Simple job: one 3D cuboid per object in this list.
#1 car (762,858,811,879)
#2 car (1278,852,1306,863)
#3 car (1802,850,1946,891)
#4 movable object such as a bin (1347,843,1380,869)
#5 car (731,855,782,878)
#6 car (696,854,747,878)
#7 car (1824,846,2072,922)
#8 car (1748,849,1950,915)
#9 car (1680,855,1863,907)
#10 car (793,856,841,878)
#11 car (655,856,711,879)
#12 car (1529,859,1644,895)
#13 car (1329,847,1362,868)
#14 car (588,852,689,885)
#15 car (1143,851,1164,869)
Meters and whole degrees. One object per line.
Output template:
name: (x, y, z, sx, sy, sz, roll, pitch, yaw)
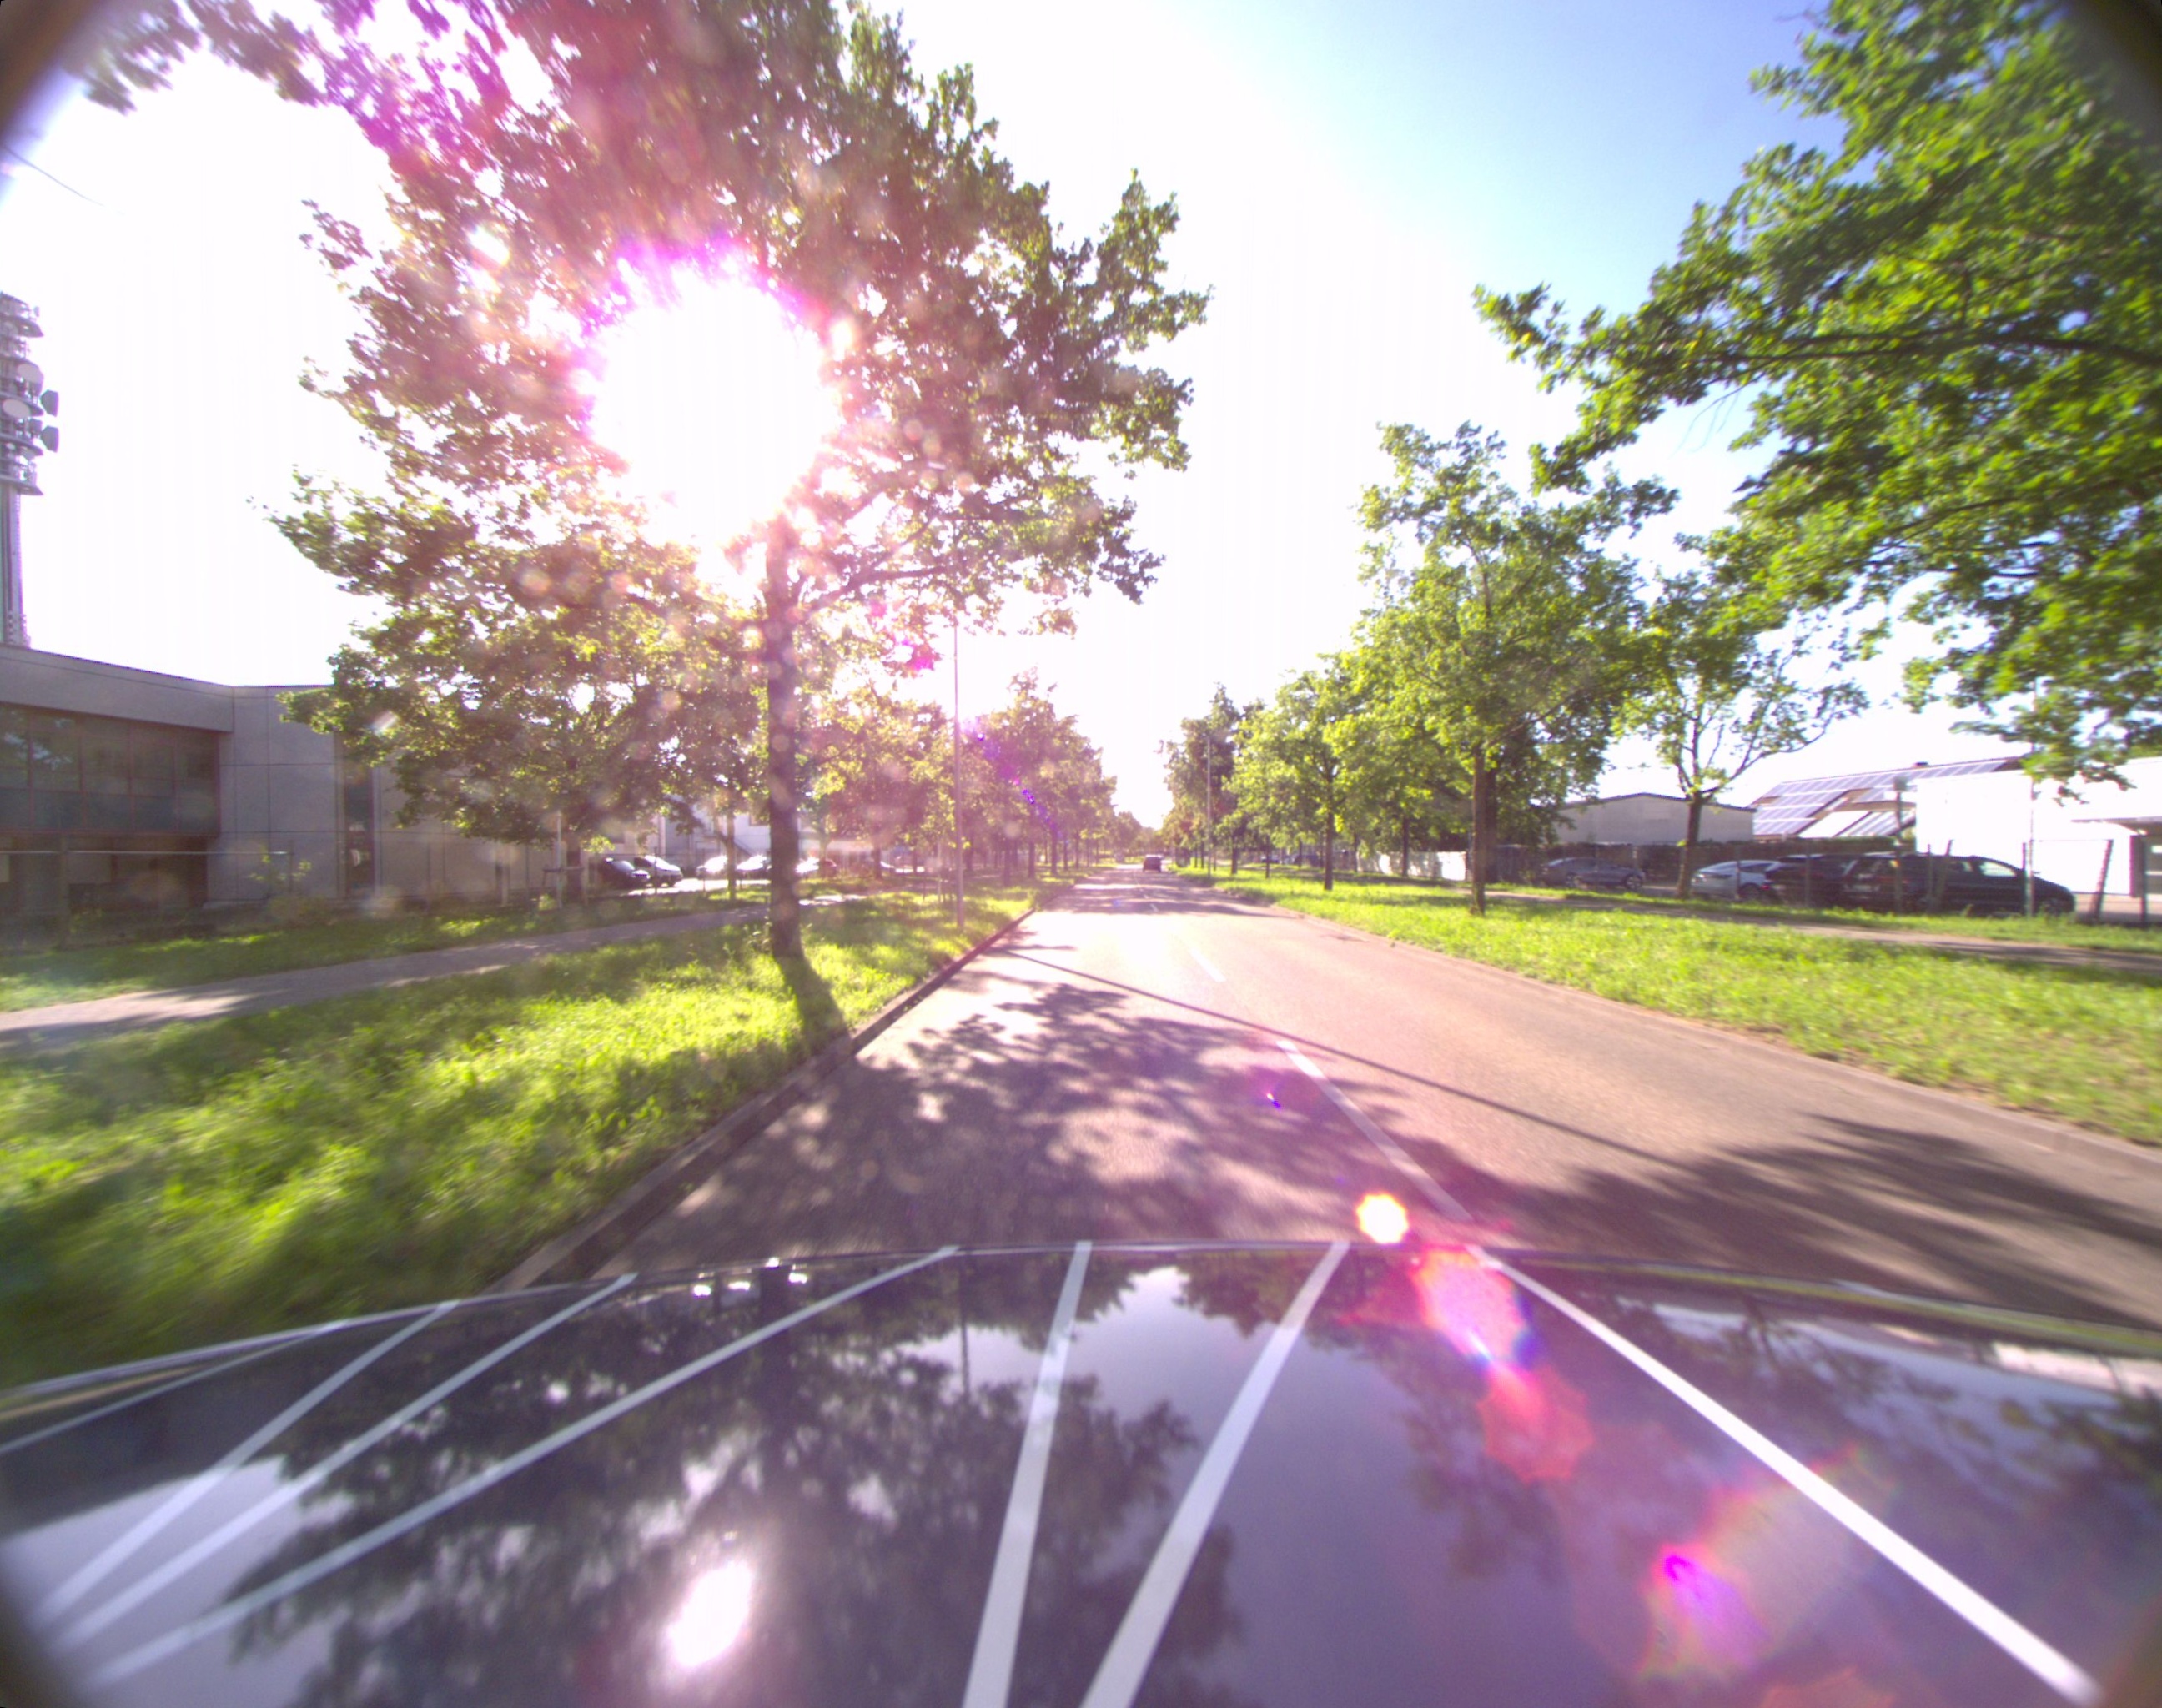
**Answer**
car: (-23.277, 1.097, 60.287, 1.998, 1.550, 4.456, -1, 0, 2)
car: (32.991, 0.527, 118.959, 3.885, 1.493, 2.003, -2, 1, 25)
car: (32.905, 0.659, 31.620, 3.996, 1.510, 1.751, -2, 1, 4)
movable object such as a bin: (28.506, 0.155, 76.776, 1.998, 2.501, 4.237, -2, 1, 6)
car: (-25.635, 0.948, 60.184, 1.998, 1.663, 4.456, -1, 0, 2)
car: (-28.516, 0.928, 60.435, 1.999, 1.663, 4.455, -2, 1, -1)
car: (22.447, 0.749, 19.836, 3.995, 1.732, 2.000, -2, 1, 5)
car: (22.821, 0.799, 22.724, 3.996, 1.736, 1.862, -2, 1, 4)
car: (23.105, 0.893, 25.579, 4.320, 1.510, 1.862, -2, 1, 4)
car: (-20.602, 0.977, 59.538, 1.998, 1.597, 4.716, 0, 1, 2)
car: (-32.517, 1.079, 62.194, 1.698, 1.646, 4.458, -2, 1, 9)
car: (24.022, 1.072, 36.241, 3.996, 1.510, 2.199, -2, 1, 4)
car: (28.585, 0.369, 82.313, 1.998, 2.162, 5.673, -1, 0, 5)
car: (-27.373, 0.863, 47.105, 5.076, 1.948, 1.894, 0, 1, -1)
car: (7.159, 0.596, 75.290, 1.771, 1.663, 4.199, 1, 1, 3)
